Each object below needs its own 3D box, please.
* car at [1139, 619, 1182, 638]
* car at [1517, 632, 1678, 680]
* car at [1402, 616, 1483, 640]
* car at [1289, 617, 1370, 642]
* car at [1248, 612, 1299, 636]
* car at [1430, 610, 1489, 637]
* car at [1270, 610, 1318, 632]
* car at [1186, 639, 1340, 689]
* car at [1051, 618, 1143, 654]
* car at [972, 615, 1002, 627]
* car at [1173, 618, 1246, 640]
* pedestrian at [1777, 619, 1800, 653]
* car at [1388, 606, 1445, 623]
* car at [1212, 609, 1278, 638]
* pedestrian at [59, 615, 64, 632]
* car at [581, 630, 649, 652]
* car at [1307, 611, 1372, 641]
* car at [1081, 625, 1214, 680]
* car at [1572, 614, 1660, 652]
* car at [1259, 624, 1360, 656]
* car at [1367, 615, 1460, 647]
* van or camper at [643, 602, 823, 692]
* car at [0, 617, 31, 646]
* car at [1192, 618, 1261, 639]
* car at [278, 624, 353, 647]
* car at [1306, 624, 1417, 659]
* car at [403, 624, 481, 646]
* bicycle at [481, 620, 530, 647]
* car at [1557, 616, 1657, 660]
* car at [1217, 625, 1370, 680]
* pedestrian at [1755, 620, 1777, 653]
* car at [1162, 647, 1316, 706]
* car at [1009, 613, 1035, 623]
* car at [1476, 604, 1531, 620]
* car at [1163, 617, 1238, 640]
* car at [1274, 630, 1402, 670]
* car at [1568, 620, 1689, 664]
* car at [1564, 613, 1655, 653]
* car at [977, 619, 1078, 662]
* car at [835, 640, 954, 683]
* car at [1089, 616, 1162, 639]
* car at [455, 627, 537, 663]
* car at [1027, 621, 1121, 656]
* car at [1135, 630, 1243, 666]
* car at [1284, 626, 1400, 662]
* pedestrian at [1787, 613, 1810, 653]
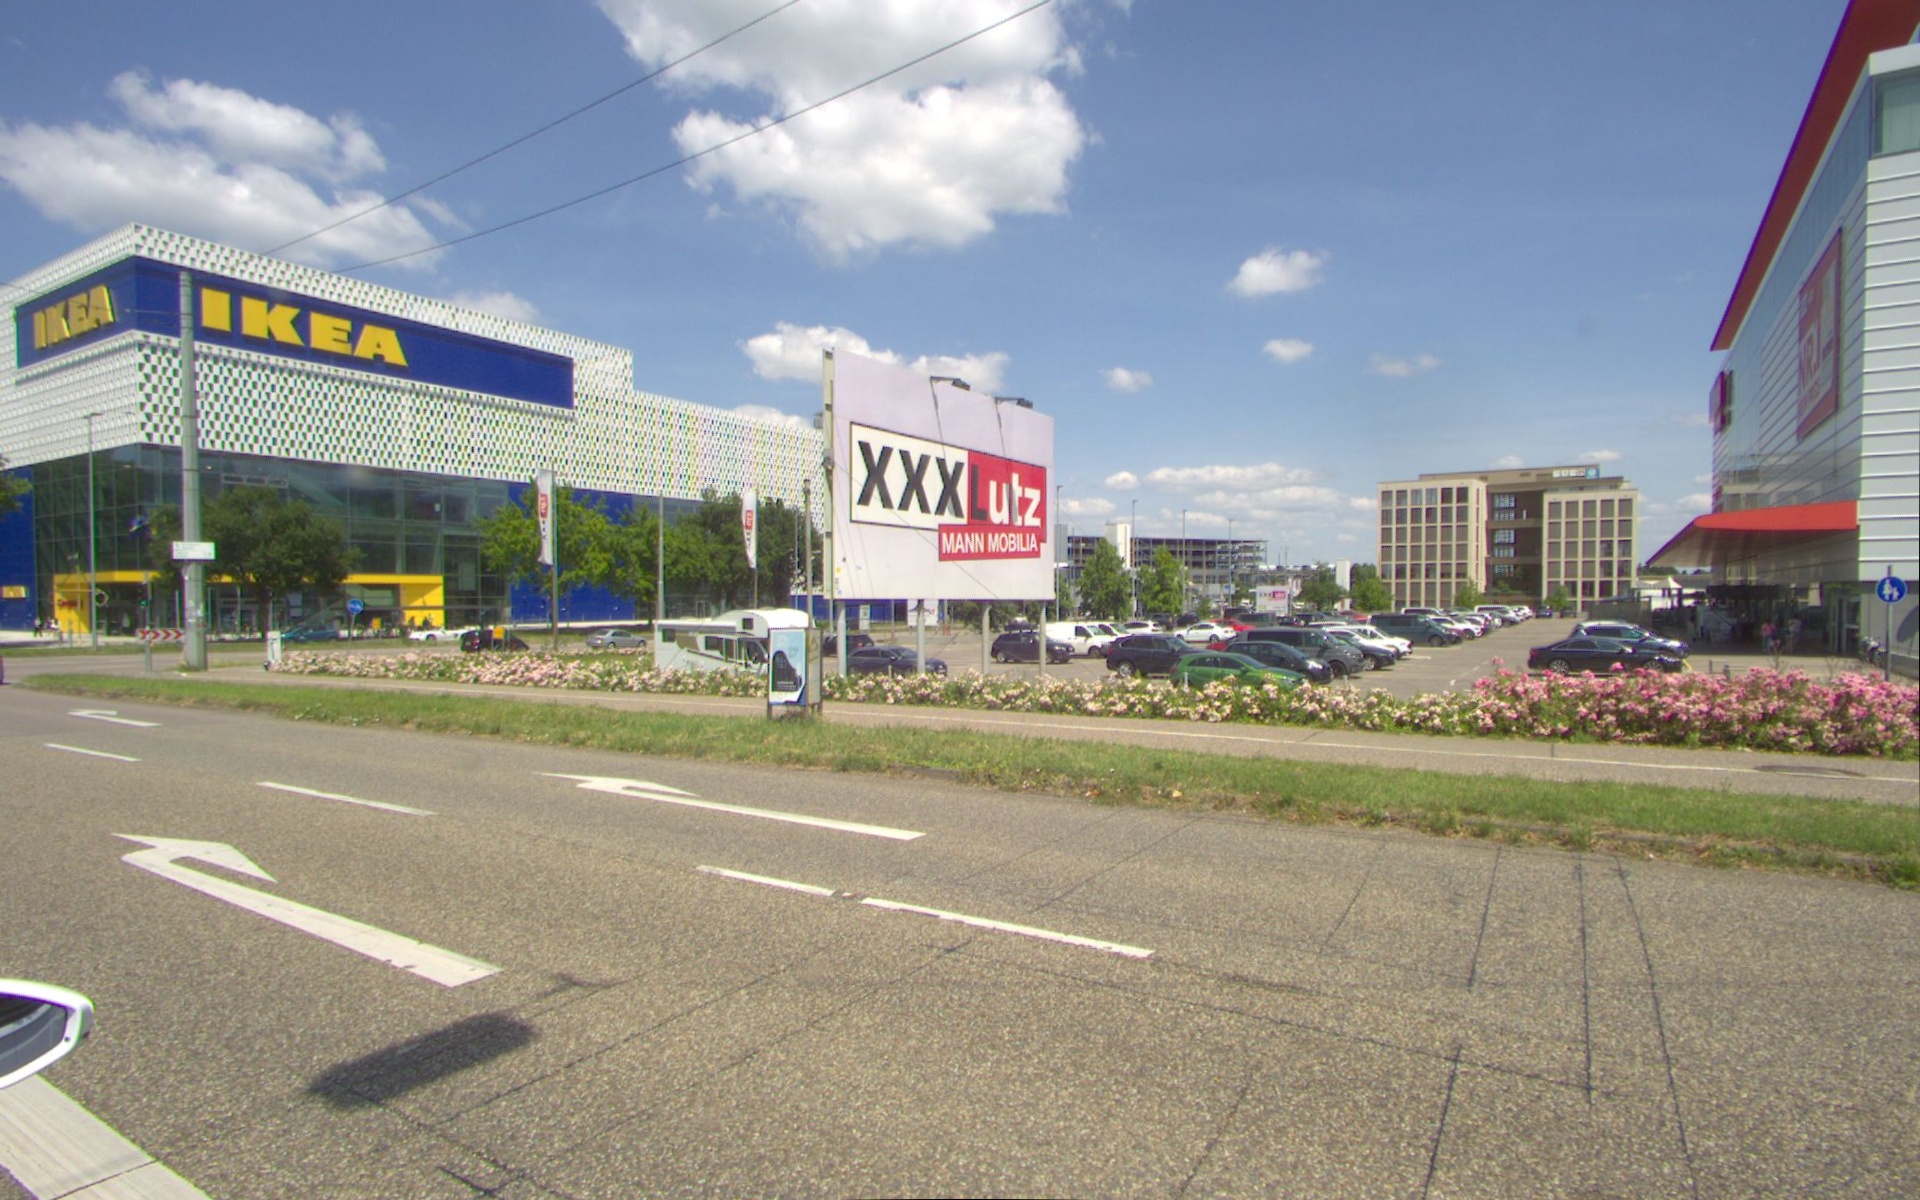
[{"bbox_3d":[20.513,2.898,102.642,3.943,1.863,1.819,-1,-1,32],"label":"car"},{"bbox_3d":[23.541,2.017,37.183,4.930,1.631,1.990,-1,-1,33],"label":"car"},{"bbox_3d":[33.963,1.942,70.531,4.930,1.631,1.990,-1,-1,33],"label":"car"},{"bbox_3d":[25.119,1.970,68.111,4.930,1.631,1.990,-1,-1,33],"label":"car"},{"bbox_3d":[27.854,2.147,89.054,3.943,2.040,1.990,-1,-1,32],"label":"car"},{"bbox_3d":[38.360,1.805,76.926,3.943,2.040,1.990,-1,-1,32],"label":"car"},{"bbox_3d":[30.952,1.939,92.826,3.943,2.040,1.990,-1,-1,32],"label":"car"},{"bbox_3d":[10.713,2.221,35.544,4.930,1.570,1.990,-1,-1,33],"label":"car"},{"bbox_3d":[7.977,2.050,58.445,4.930,2.033,1.990,-1,-1,33],"label":"car"},{"bbox_3d":[3.729,2.908,136.694,1.974,1.505,4.485,0,-2,36],"label":"car"},{"bbox_3d":[18.640,2.159,74.798,4.930,1.631,1.990,-1,-1,33],"label":"car"},{"bbox_3d":[38.914,1.704,47.046,0.725,1.578,0.739,0,-1,30],"label":"pedestrian"},{"bbox_3d":[44.800,1.481,98.332,4.930,1.631,1.990,-1,-1,33],"label":"car"},{"bbox_3d":[23.696,1.975,83.305,4.929,2.333,1.990,-1,-1,33],"label":"car"},{"bbox_3d":[-72.686,1.916,81.014,0.263,1.360,0.288,0,0,32],"label":"pedestrian"},{"bbox_3d":[-24.131,2.874,70.110,1.973,1.505,4.144,0,-2,34],"label":"car"},{"bbox_3d":[26.564,1.822,70.117,3.943,2.040,1.990,-1,-1,32],"label":"car"},{"bbox_3d":[7.570,2.077,40.617,4.930,2.041,1.989,-1,1,33],"label":"car"},{"bbox_3d":[35.700,1.790,54.656,3.943,2.040,1.990,-1,-1,32],"label":"car"},{"bbox_3d":[19.027,2.152,54.548,4.928,1.631,1.990,-1,-1,32],"label":"car"},{"bbox_3d":[28.224,1.915,62.341,5.106,1.889,1.991,-1,-1,31],"label":"car"},{"bbox_3d":[-8.533,1.670,37.245,7.129,3.059,2.499,-1,-1,36],"label":"van or camper"},{"bbox_3d":[-49.956,1.562,50.344,1.974,1.505,4.485,0,-2,36],"label":"car"},{"bbox_3d":[21.034,2.222,79.225,4.930,1.631,1.990,-1,-1,33],"label":"car"},{"bbox_3d":[-42.925,2.380,66.757,1.974,1.505,3.779,0,-2,36],"label":"car"},{"bbox_3d":[20.147,2.046,50.327,4.930,1.672,1.990,-1,-1,33],"label":"car"},{"bbox_3d":[-36.697,2.474,71.055,1.974,1.505,4.485,0,-2,36],"label":"car"},{"bbox_3d":[-26.268,1.927,57.899,0.976,1.500,2.415,0,-1,37],"label":"bicycle"},{"bbox_3d":[31.017,1.801,48.116,3.943,2.040,1.990,-1,-1,32],"label":"car"},{"bbox_3d":[13.179,2.010,39.663,5.456,2.039,1.990,-1,-1,33],"label":"car"},{"bbox_3d":[38.790,1.755,48.178,0.725,1.578,0.739,0,-1,30],"label":"pedestrian"},{"bbox_3d":[8.727,2.342,31.379,4.242,1.517,1.988,-1,2,33],"label":"car"},{"bbox_3d":[9.792,2.792,157.482,1.974,1.505,4.485,0,-2,36],"label":"car"},{"bbox_3d":[55.887,1.258,103.015,4.930,1.631,1.990,-1,-1,33],"label":"car"},{"bbox_3d":[17.456,2.070,72.757,4.930,1.631,1.990,-1,-1,33],"label":"car"},{"bbox_3d":[16.462,2.151,43.654,4.930,1.631,1.990,-1,-1,33],"label":"car"},{"bbox_3d":[28.706,1.803,43.161,4.271,1.804,1.990,-1,-2,33],"label":"car"},{"bbox_3d":[34.045,1.711,52.615,3.943,2.040,1.990,-1,-1,32],"label":"car"},{"bbox_3d":[3.512,2.078,52.403,4.929,2.162,1.990,-1,-1,33],"label":"car"},{"bbox_3d":[-2.755,2.525,41.711,4.701,1.558,1.989,-1,1,33],"label":"car"},{"bbox_3d":[12.036,1.991,73.015,4.922,1.631,1.993,0,-1,27],"label":"car"},{"bbox_3d":[-28.186,2.690,60.947,1.972,2.040,4.172,-1,-1,33],"label":"car"},{"bbox_3d":[6.384,2.151,56.405,4.930,1.876,1.990,-1,-1,33],"label":"car"},{"bbox_3d":[11.433,2.351,50.151,4.930,1.632,1.989,-1,0,33],"label":"car"},{"bbox_3d":[18.355,2.079,48.163,4.930,1.631,1.990,-1,-1,33],"label":"car"},{"bbox_3d":[39.941,1.570,47.687,0.725,1.893,0.739,0,-1,30],"label":"pedestrian"}]
